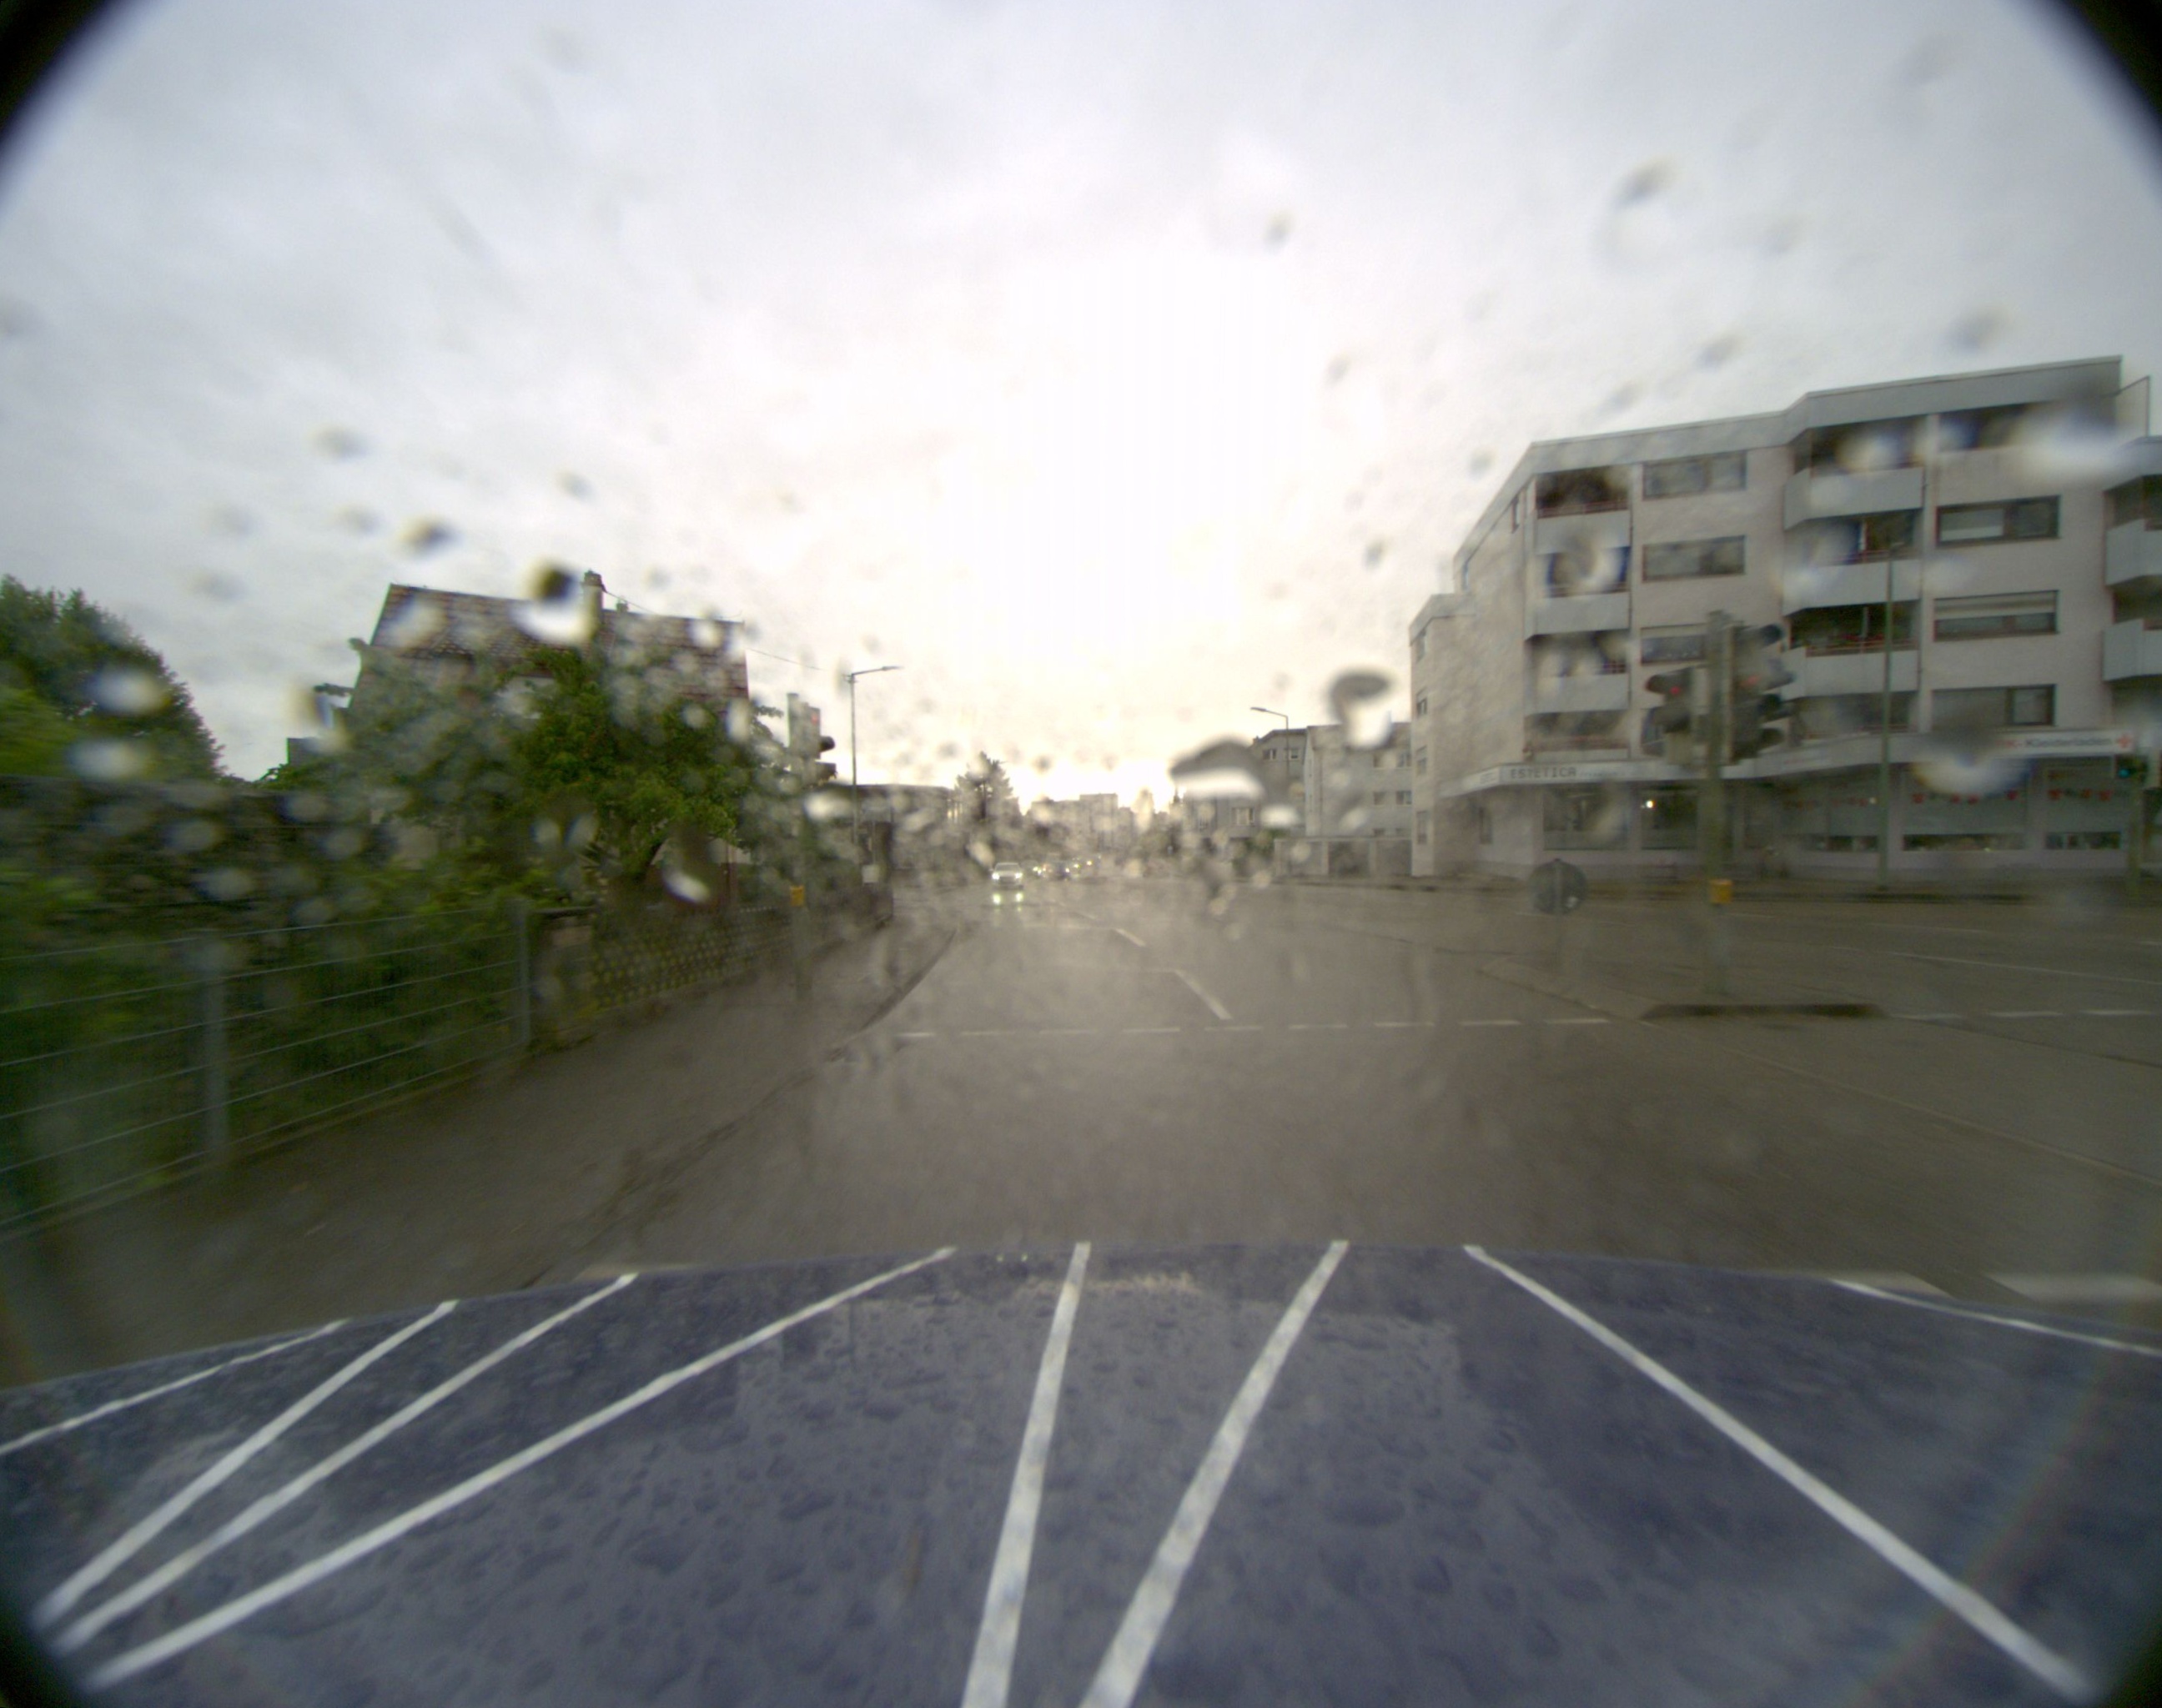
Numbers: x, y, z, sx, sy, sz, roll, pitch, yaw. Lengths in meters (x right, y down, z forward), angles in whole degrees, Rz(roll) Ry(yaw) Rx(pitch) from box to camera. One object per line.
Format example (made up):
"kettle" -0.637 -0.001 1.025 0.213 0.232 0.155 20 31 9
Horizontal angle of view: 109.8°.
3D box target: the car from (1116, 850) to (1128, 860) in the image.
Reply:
"car" 7.491 0.198 138.465 2.101 1.822 4.735 -2 0 5

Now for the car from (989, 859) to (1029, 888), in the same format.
"car" -3.965 1.031 42.407 1.829 1.431 4.344 -2 0 0

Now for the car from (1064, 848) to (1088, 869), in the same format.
"car" -0.485 0.446 77.165 1.998 2.002 4.002 -1 0 6

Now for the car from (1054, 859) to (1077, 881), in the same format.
"car" -1.157 1.189 58.130 1.651 1.547 3.351 -2 0 1

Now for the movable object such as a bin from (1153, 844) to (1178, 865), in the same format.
"movable object such as a bin" 11.598 0.056 103.938 2.922 2.825 2.199 -1 0 17

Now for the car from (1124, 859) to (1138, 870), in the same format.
"car" 6.871 1.394 104.381 1.792 1.463 4.164 -2 0 2

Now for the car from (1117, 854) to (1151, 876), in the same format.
"car" 5.426 1.180 78.845 2.096 2.002 5.976 -6 0 -8

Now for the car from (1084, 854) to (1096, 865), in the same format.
"car" 1.536 0.927 135.683 1.999 1.849 3.999 0 0 -1

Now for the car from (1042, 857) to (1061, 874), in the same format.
"car" -3.296 1.245 86.522 1.999 1.849 3.999 0 0 0

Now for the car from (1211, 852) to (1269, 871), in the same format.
"car" 13.325 0.649 63.869 4.621 1.488 1.930 -1 0 6

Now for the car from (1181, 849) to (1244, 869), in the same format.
"car" 11.882 0.464 68.712 5.471 1.674 2.150 -1 0 13

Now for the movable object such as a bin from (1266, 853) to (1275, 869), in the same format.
"movable object such as a bin" 11.848 0.418 47.477 0.500 0.955 0.602 -1 0 12

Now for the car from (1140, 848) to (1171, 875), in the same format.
"car" 5.982 0.597 61.463 1.999 2.002 4.651 -2 0 -1

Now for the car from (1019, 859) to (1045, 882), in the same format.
"car" -4.173 1.349 65.154 1.999 1.849 3.999 0 0 0
